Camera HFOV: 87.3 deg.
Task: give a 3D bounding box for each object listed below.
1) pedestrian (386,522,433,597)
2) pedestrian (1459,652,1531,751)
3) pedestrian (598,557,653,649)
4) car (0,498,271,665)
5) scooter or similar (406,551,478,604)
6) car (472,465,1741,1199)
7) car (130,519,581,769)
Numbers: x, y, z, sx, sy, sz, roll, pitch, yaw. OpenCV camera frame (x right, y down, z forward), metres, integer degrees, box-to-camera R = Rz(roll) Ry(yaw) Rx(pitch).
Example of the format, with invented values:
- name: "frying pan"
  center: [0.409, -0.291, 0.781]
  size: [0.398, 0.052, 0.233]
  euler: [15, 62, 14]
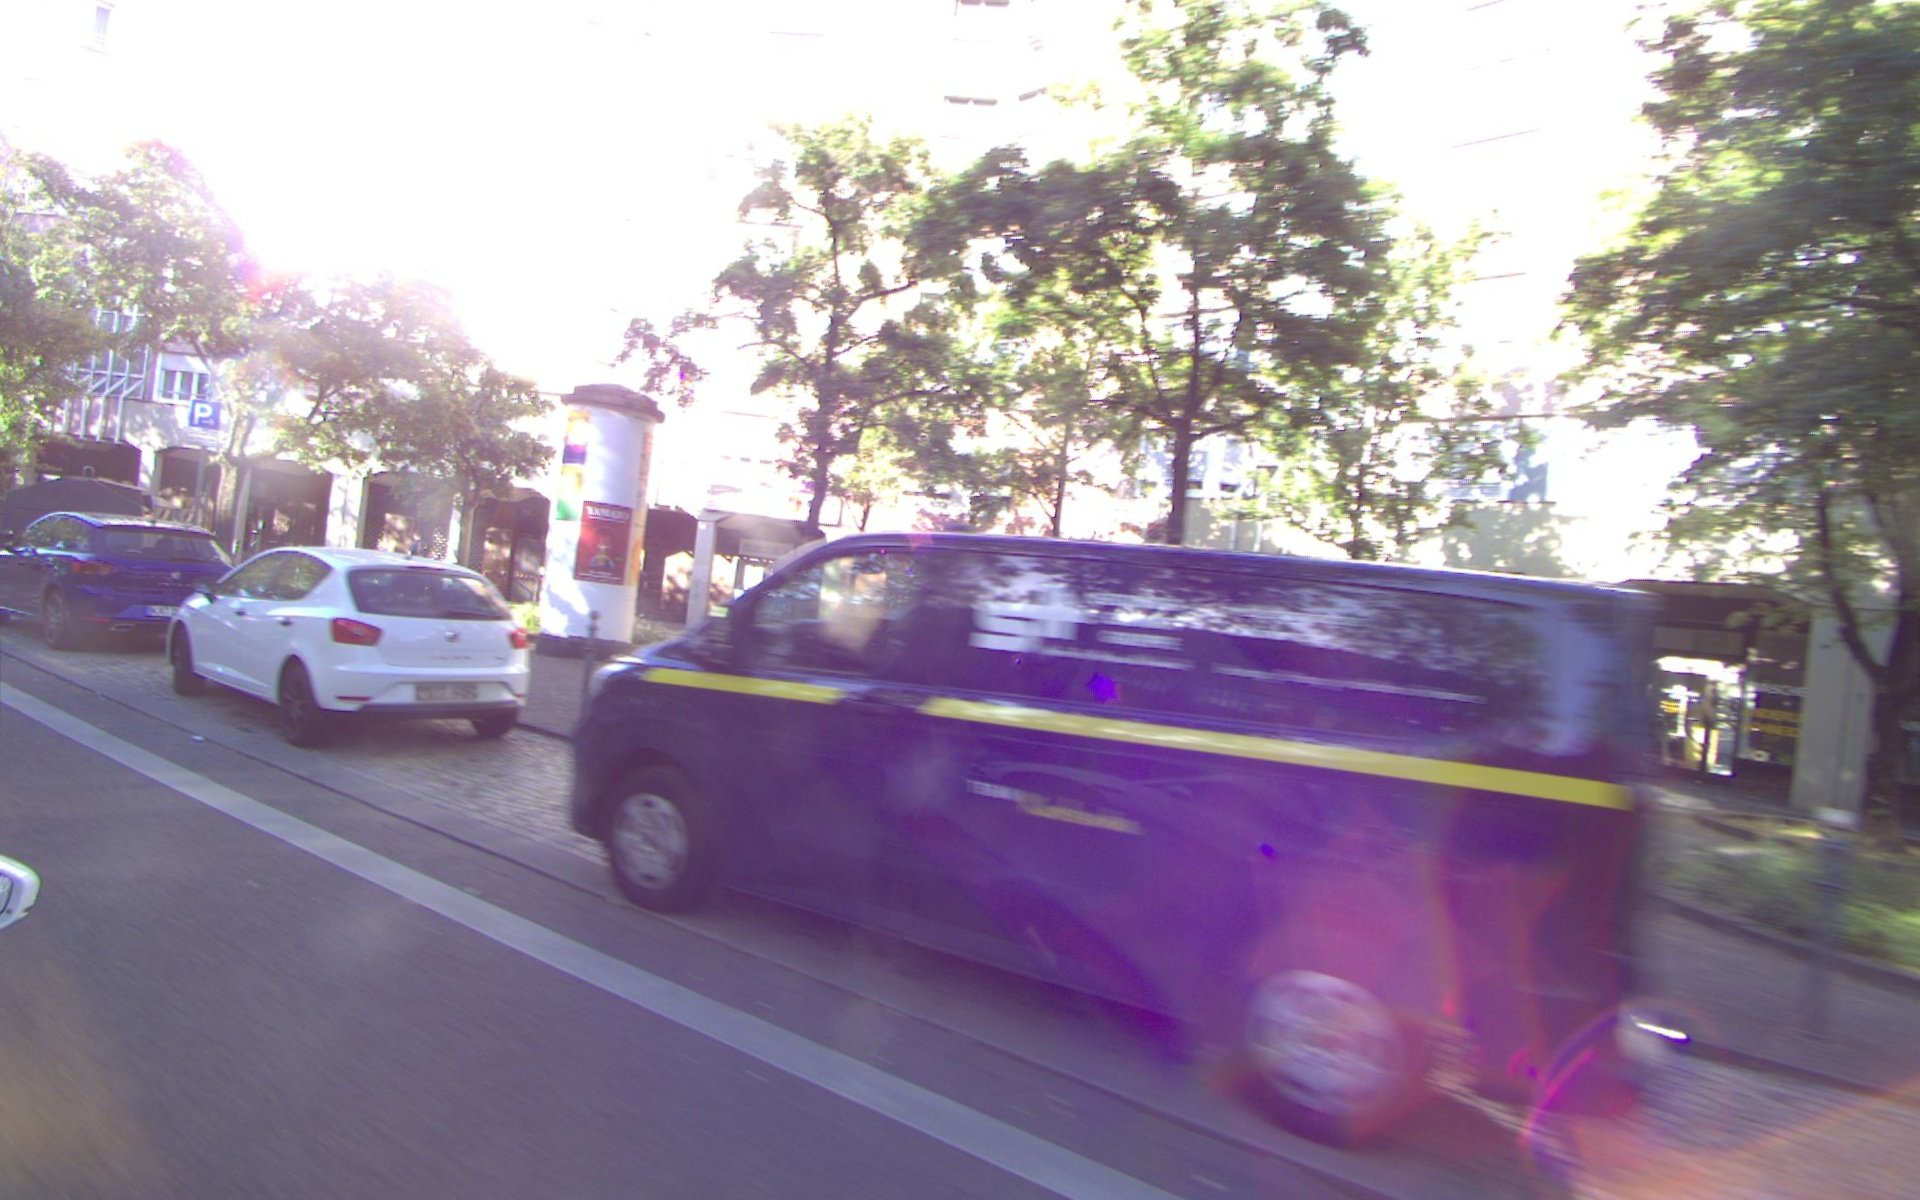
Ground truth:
- name: "pedestrian"
  center: [-15.716, -1.150, 28.719]
  size: [0.813, 2.005, 0.838]
  euler: [7, 0, -41]
- name: "pedestrian"
  center: [11.071, 2.088, 20.829]
  size: [0.718, 1.894, 0.885]
  euler: [7, 0, -32]
- name: "pedestrian"
  center: [-7.720, 0.081, 23.207]
  size: [0.763, 2.005, 0.640]
  euler: [7, 0, 33]
- name: "car"
  center: [-10.046, -0.279, 11.817]
  size: [4.180, 1.502, 1.703]
  euler: [7, 0, 34]
- name: "scooter or similar"
  center: [-13.410, -0.571, 26.078]
  size: [0.550, 1.159, 1.455]
  euler: [7, -1, 36]
- name: "car"
  center: [0.254, 0.603, 4.864]
  size: [5.109, 1.968, 2.040]
  euler: [7, 1, 29]
- name: "car"
  center: [-5.316, 0.265, 8.665]
  size: [4.109, 1.483, 1.702]
  euler: [7, 0, 35]
